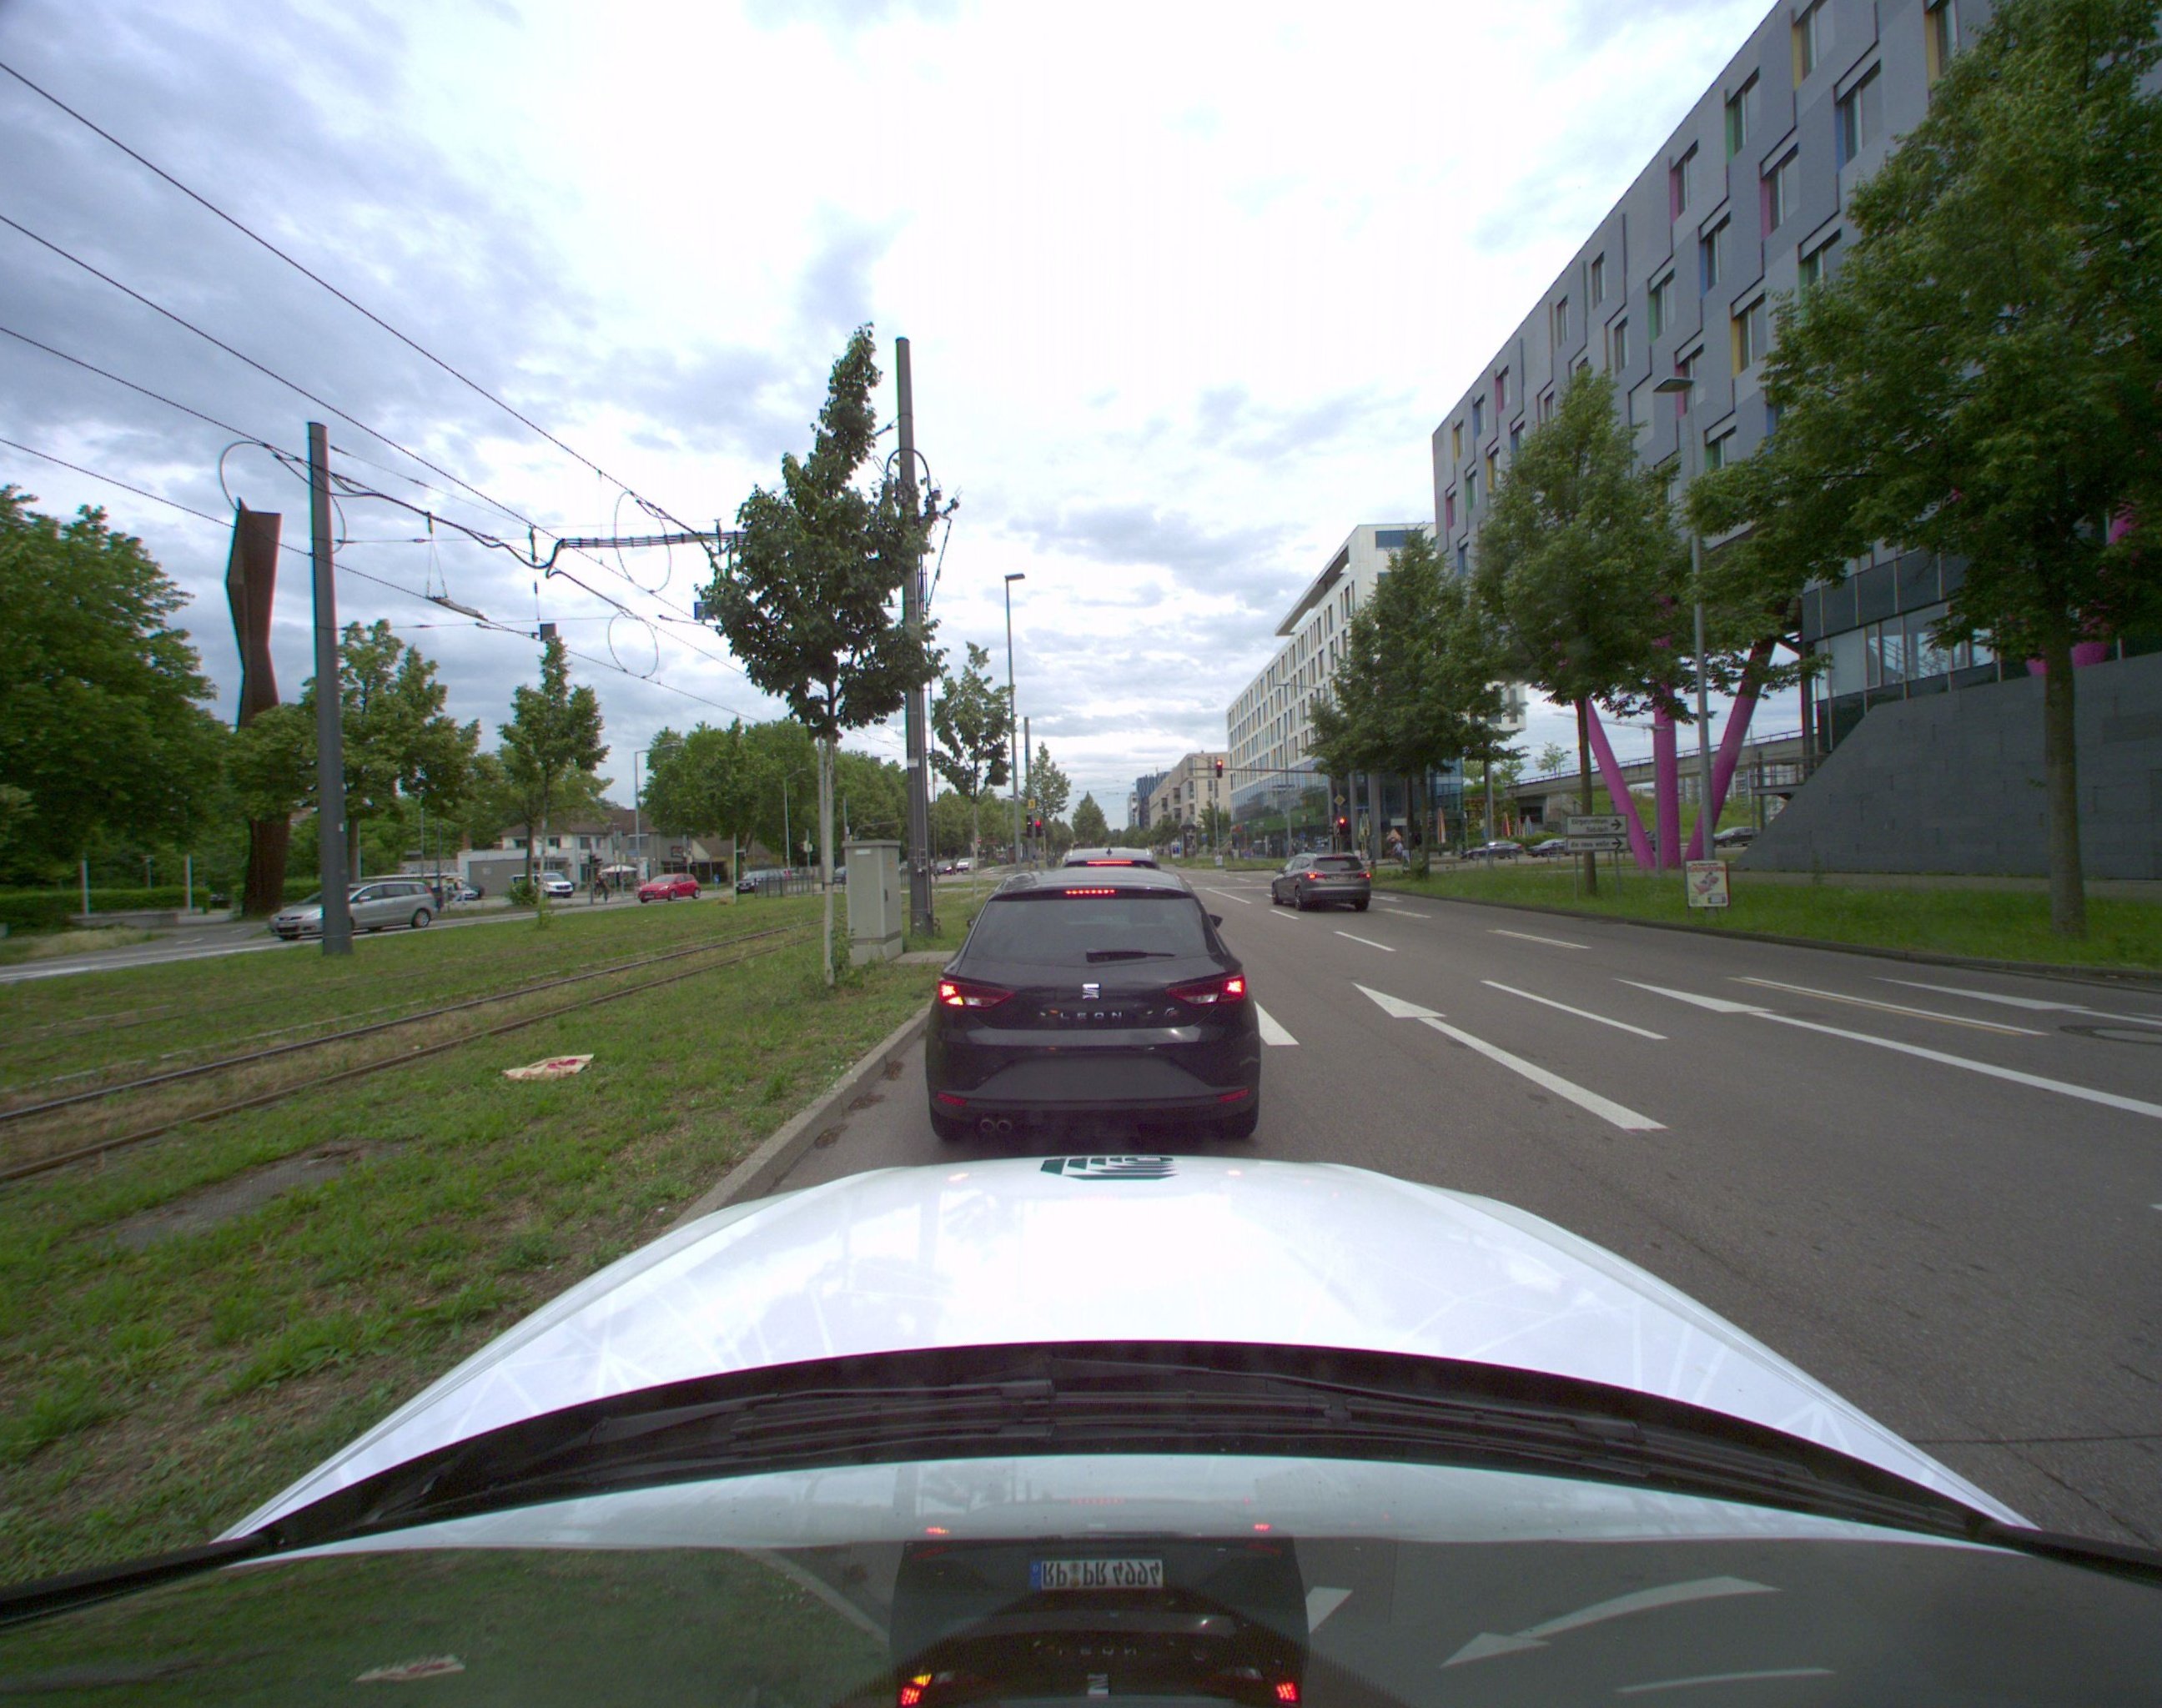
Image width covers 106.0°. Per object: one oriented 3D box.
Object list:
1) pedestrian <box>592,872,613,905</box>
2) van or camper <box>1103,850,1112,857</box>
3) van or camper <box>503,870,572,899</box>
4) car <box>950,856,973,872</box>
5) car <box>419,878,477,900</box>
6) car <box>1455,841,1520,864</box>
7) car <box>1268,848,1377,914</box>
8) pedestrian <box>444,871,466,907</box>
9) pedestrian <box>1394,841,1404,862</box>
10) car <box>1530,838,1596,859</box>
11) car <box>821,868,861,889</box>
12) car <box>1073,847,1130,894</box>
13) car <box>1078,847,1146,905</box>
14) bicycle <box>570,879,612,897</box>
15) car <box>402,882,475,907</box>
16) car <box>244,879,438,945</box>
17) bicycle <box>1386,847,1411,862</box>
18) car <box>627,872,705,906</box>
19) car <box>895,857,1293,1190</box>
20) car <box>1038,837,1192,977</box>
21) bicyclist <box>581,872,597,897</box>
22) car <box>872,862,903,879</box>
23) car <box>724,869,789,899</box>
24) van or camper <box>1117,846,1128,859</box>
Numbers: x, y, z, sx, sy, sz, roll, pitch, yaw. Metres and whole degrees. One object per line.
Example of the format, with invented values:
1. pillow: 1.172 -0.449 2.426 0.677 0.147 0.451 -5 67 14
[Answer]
1. pedestrian: -27.762 1.978 47.250 0.779 1.832 0.771 -2 0 -16
2. van or camper: 6.112 -0.157 188.147 1.986 1.615 4.792 -1 1 2
3. van or camper: -41.622 2.318 62.329 5.212 2.013 2.481 -2 0 34
4. car: -13.921 1.152 94.924 1.987 1.750 4.201 -2 0 1
5. car: -59.913 3.320 77.130 3.969 1.849 2.002 -2 0 4
6. car: 31.842 -0.133 63.866 4.233 1.615 1.759 -2 0 3
7. car: 6.393 0.648 22.035 1.741 1.499 4.270 -2 1 1
8. pedestrian: -36.646 2.032 47.654 0.910 2.013 0.942 -2 0 -40
9. pedestrian: 25.716 -0.208 65.849 0.612 1.604 0.619 -2 0 4
10. car: 37.858 -0.433 64.043 4.063 1.455 1.759 -2 0 3
11. car: -18.358 1.842 62.518 1.795 1.377 4.058 -2 0 1
12. car: 0.848 0.578 31.269 1.985 1.682 4.005 -1 0 4
13. car: 1.077 0.637 26.198 1.984 1.682 4.005 -1 0 5
14. bicycle: -35.604 2.476 59.242 2.520 1.202 0.734 -2 0 -25
15. car: -51.431 3.236 65.218 4.258 1.816 2.111 -2 0 6
16. car: -22.744 1.707 25.338 1.715 1.643 4.674 -2 0 0
17. bicycle: 25.677 0.051 65.850 1.784 1.085 0.618 -2 0 3
18. car: -22.354 1.864 44.070 1.789 1.570 4.331 -2 0 3
19. car: 0.095 0.755 5.595 1.737 1.417 4.001 -1 0 1
20. car: 0.472 0.629 11.817 1.796 1.624 4.002 -2 0 2
21. bicyclist: -35.739 2.194 59.166 0.854 1.721 0.715 -2 0 -25
22. car: -19.539 1.643 82.482 1.805 1.588 5.079 -2 0 1
23. car: -18.616 1.708 46.961 1.658 1.426 4.746 -4 0 1
24. van or camper: 7.812 -0.279 153.633 2.101 2.355 4.927 -1 2 2
